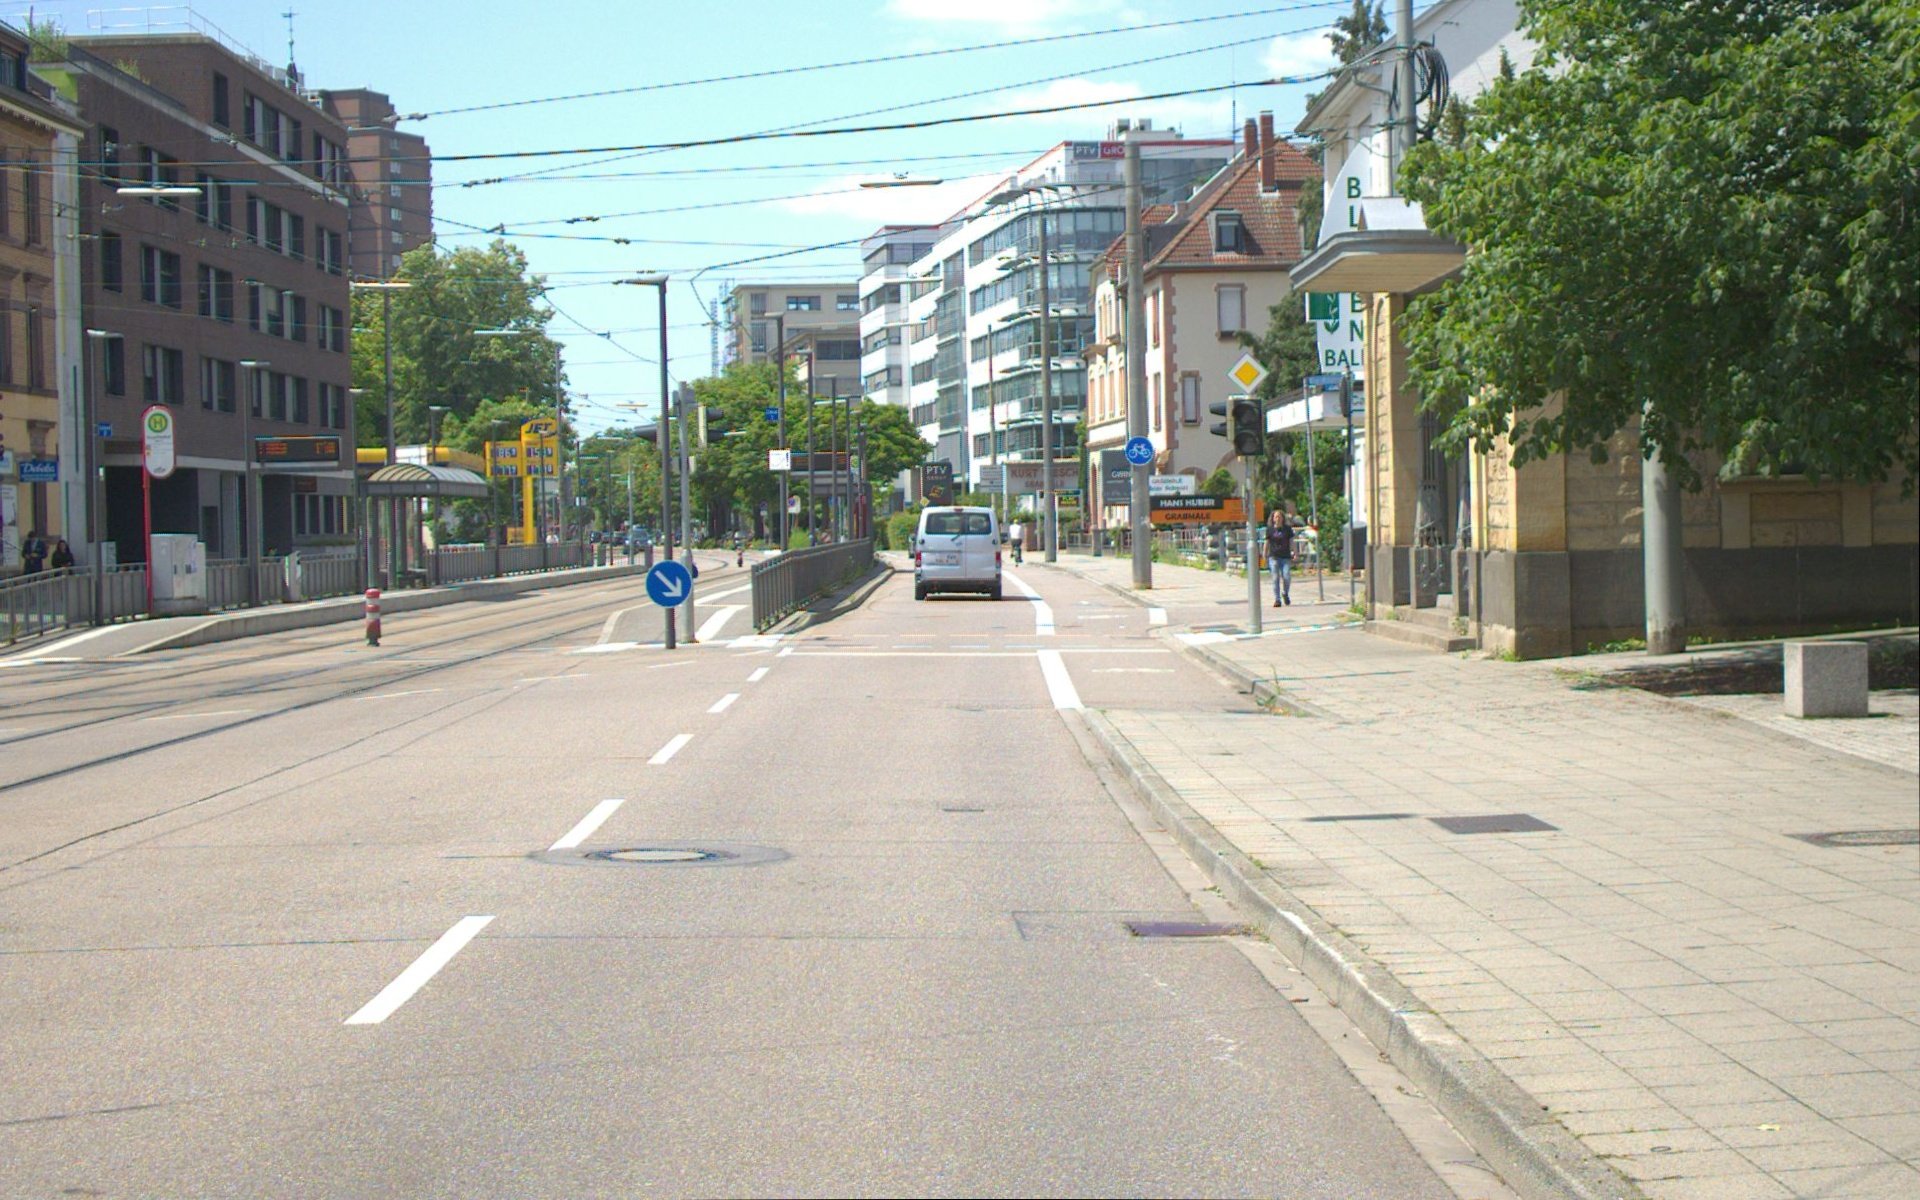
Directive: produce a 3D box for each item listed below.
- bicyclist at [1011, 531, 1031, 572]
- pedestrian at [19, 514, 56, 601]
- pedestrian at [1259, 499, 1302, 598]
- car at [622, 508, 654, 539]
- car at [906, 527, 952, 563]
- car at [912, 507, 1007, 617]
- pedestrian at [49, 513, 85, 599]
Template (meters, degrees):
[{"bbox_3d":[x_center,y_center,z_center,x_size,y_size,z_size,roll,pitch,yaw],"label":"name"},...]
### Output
[{"bbox_3d":[2.082,-1.662,117.871,0.591,1.392,0.842,-1,1,-3],"label":"bicyclist"},{"bbox_3d":[-21.547,-0.995,80.320,0.617,2.007,0.810,-1,1,-2],"label":"pedestrian"},{"bbox_3d":[5.147,-0.828,55.186,0.577,1.551,0.786,-3,0,3],"label":"pedestrian"},{"bbox_3d":[-21.058,-4.995,224.710,1.698,1.610,3.758,-6,-2,-9],"label":"car"},{"bbox_3d":[-1.587,-2.788,173.352,1.863,1.681,5.001,-2,1,-5],"label":"car"},{"bbox_3d":[-0.034,-0.785,68.316,1.752,2.006,4.001,-2,2,0],"label":"car"},{"bbox_3d":[-20.880,-1.020,80.365,0.676,2.007,0.685,0,0,-2],"label":"pedestrian"}]
